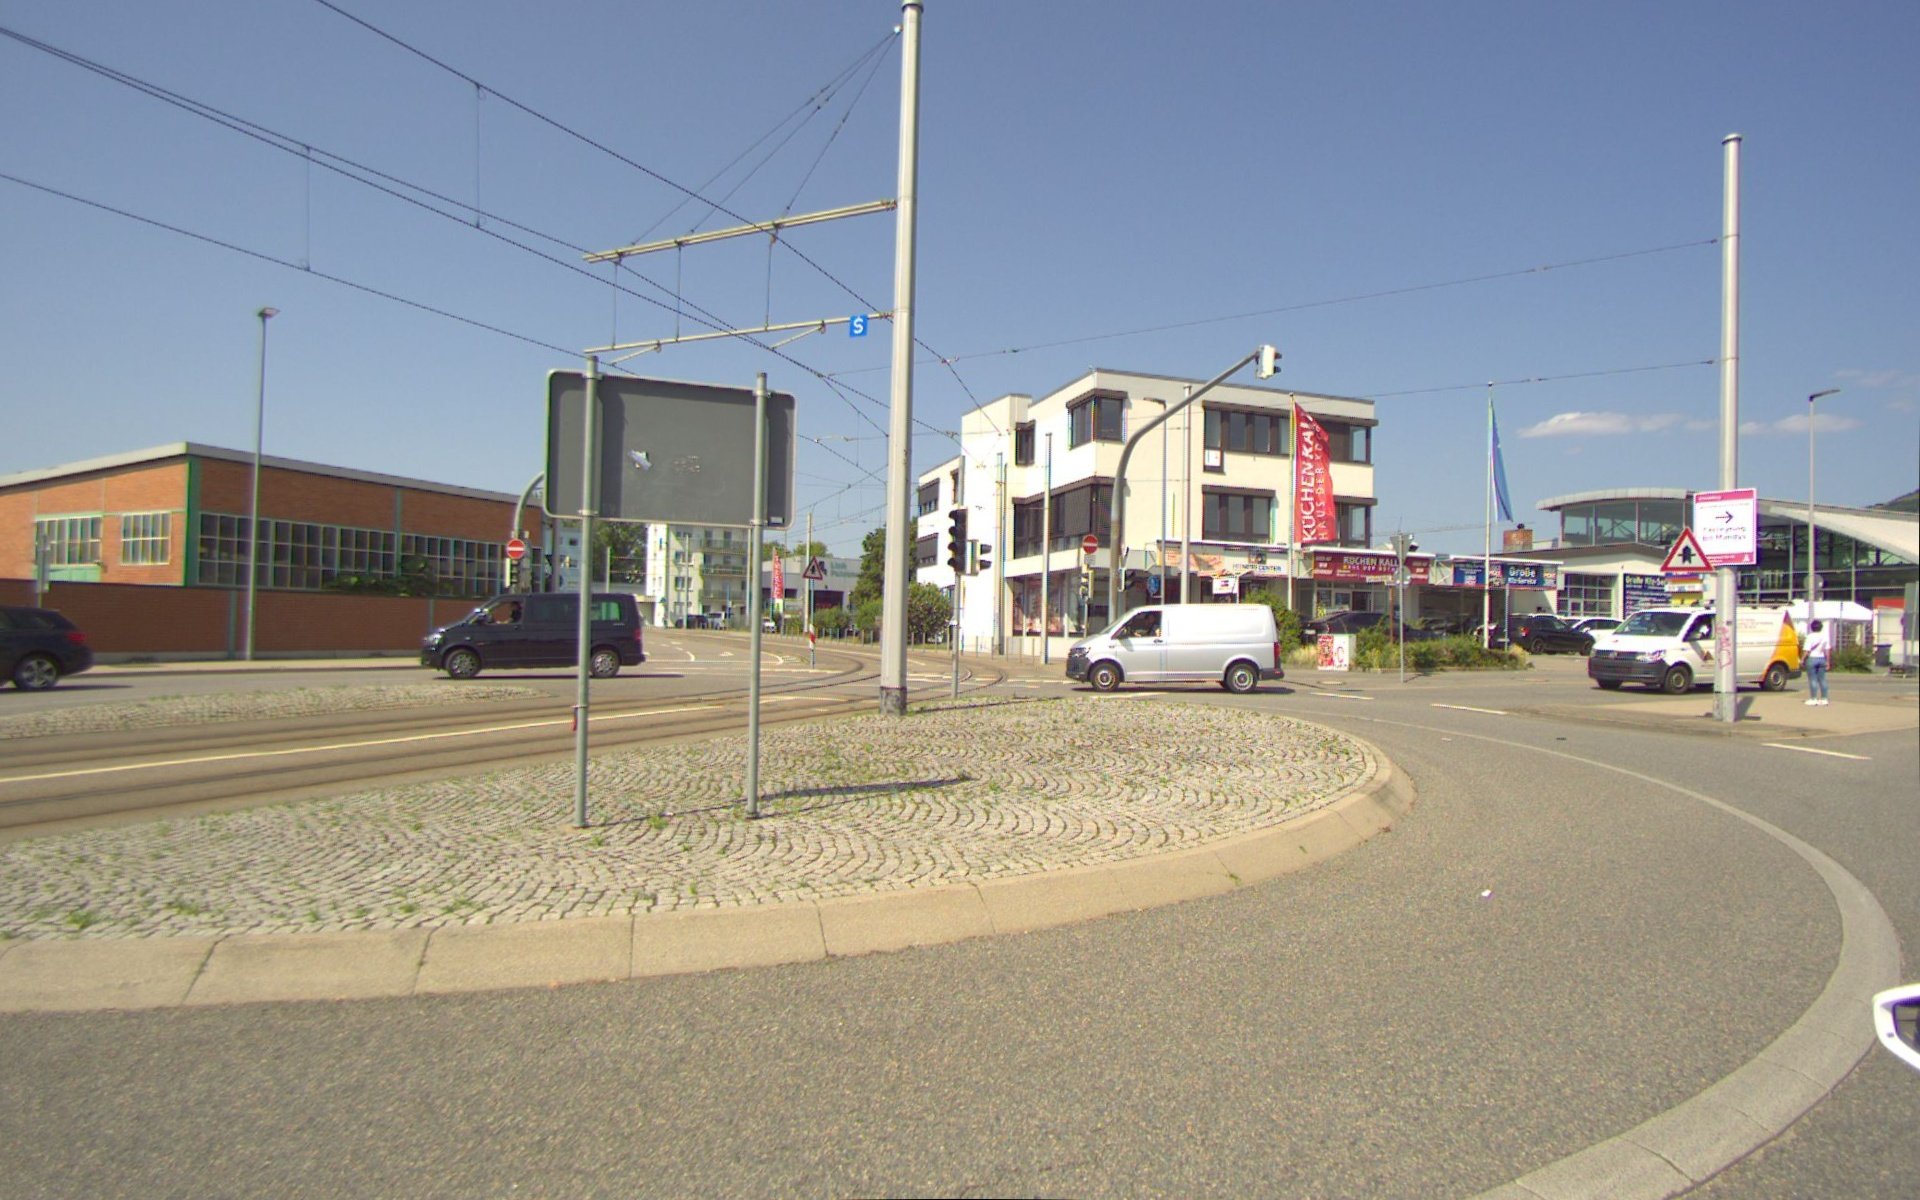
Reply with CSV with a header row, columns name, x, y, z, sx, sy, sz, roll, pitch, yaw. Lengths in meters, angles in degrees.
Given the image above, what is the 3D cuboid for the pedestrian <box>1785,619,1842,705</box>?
name,x,y,z,sx,sy,sz,roll,pitch,yaw
pedestrian,17.194,1.237,20.254,0.747,1.678,0.672,1,-1,28

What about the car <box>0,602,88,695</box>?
name,x,y,z,sx,sy,sz,roll,pitch,yaw
car,-17.456,0.812,16.569,1.932,1.577,4.239,0,0,24

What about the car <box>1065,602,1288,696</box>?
name,x,y,z,sx,sy,sz,roll,pitch,yaw
car,4.794,1.072,22.844,4.731,1.961,1.934,1,-1,5

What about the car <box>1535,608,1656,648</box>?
name,x,y,z,sx,sy,sz,roll,pitch,yaw
car,27.260,1.220,43.088,4.856,1.609,1.878,1,-3,-22

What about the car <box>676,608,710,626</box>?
name,x,y,z,sx,sy,sz,roll,pitch,yaw
car,-28.879,1.843,108.459,1.986,1.884,3.951,2,-3,-42

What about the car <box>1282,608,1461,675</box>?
name,x,y,z,sx,sy,sz,roll,pitch,yaw
car,12.969,1.288,31.658,5.196,1.991,1.959,1,-1,-18

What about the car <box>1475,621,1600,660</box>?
name,x,y,z,sx,sy,sz,roll,pitch,yaw
car,22.356,1.537,38.925,4.254,1.445,2.023,1,-1,-22

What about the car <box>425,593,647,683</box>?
name,x,y,z,sx,sy,sz,roll,pitch,yaw
car,-9.754,0.848,23.485,4.568,1.936,2.089,1,0,-20

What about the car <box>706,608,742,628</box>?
name,x,y,z,sx,sy,sz,roll,pitch,yaw
car,-25.785,1.976,109.852,3.944,2.040,1.989,-3,-3,43

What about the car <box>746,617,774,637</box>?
name,x,y,z,sx,sy,sz,roll,pitch,yaw
car,-18.873,2.521,94.606,1.971,1.806,3.980,1,-1,-22

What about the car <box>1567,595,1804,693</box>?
name,x,y,z,sx,sy,sz,roll,pitch,yaw
car,17.013,0.986,23.588,4.855,2.142,2.020,1,0,-18
